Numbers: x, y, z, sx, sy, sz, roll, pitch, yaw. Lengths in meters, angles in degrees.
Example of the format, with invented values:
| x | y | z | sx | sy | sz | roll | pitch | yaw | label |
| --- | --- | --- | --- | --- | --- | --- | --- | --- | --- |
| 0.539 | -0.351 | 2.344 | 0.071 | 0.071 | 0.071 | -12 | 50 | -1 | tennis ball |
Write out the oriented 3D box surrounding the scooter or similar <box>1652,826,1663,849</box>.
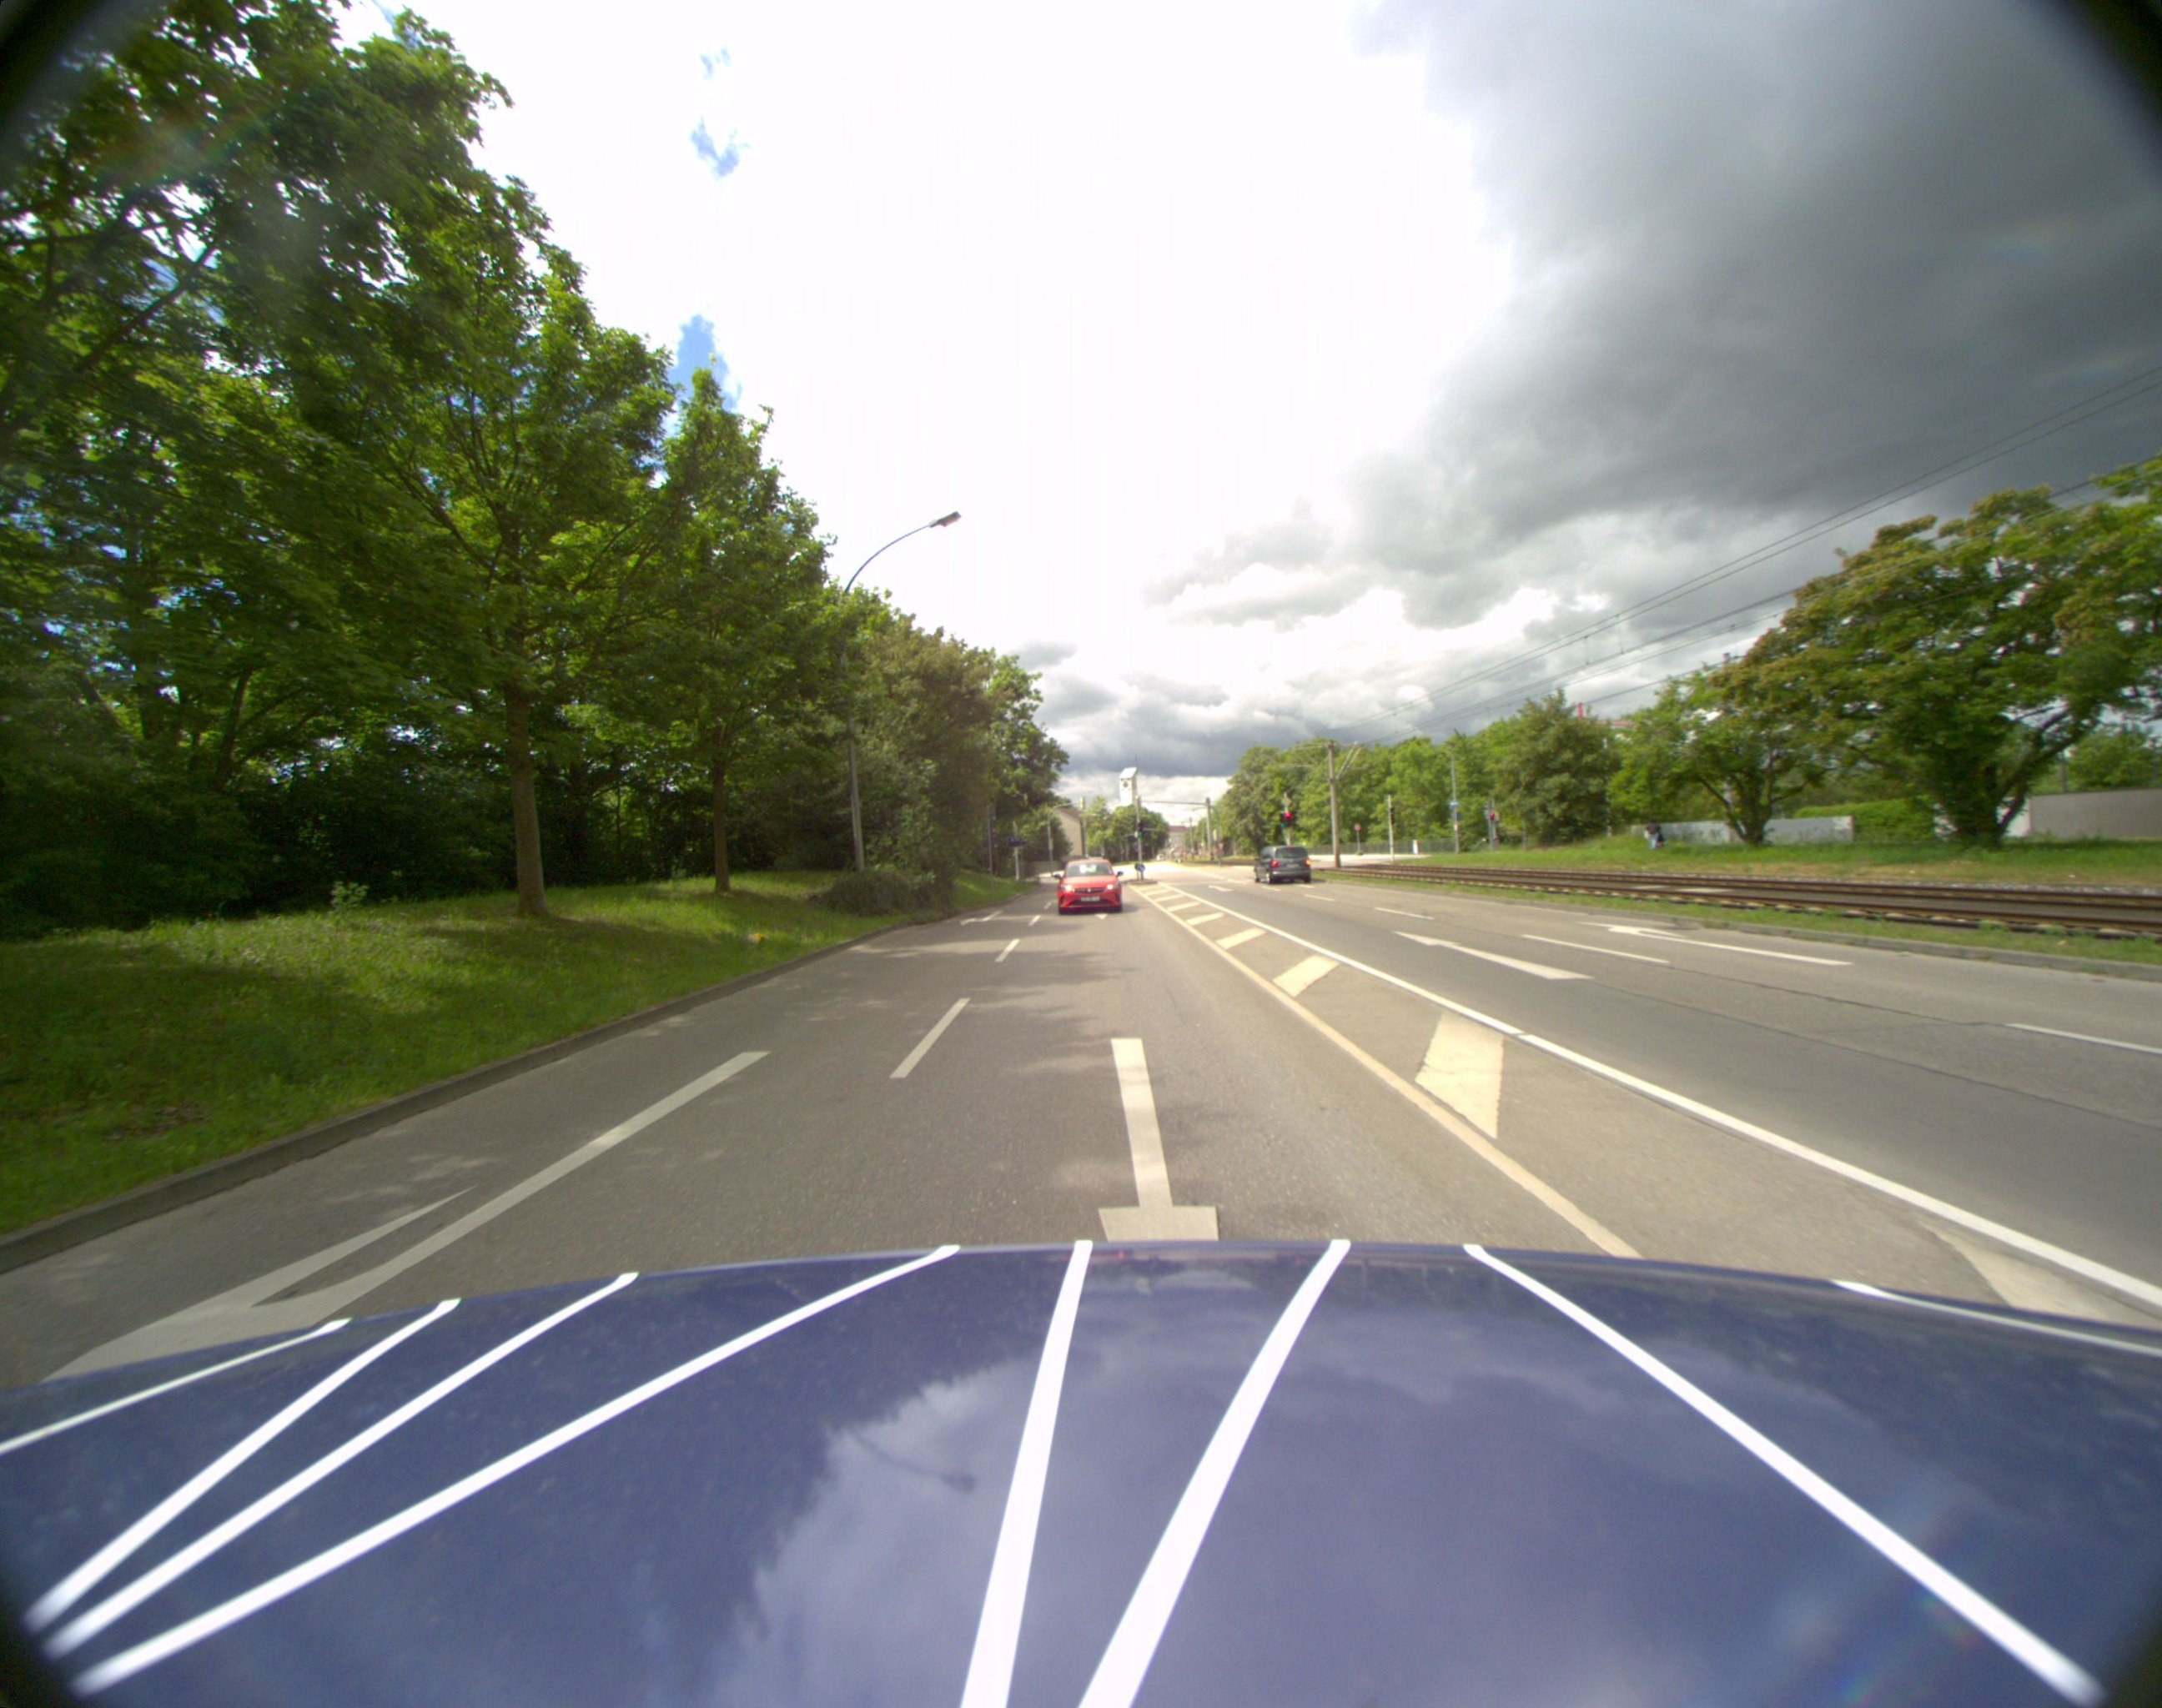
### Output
| x | y | z | sx | sy | sz | roll | pitch | yaw | label |
| --- | --- | --- | --- | --- | --- | --- | --- | --- | --- |
| 28.559 | -0.824 | 37.653 | 0.380 | 1.070 | 0.719 | -3 | 2 | 35 | scooter or similar |

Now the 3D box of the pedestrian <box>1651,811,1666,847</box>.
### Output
| x | y | z | sx | sy | sz | roll | pitch | yaw | label |
| --- | --- | --- | --- | --- | --- | --- | --- | --- | --- |
| 28.107 | -1.212 | 36.988 | 0.491 | 1.713 | 0.801 | -3 | 2 | 33 | pedestrian |

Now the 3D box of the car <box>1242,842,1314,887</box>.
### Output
| x | y | z | sx | sy | sz | roll | pitch | yaw | label |
| --- | --- | --- | --- | --- | --- | --- | --- | --- | --- |
| 8.422 | 0.398 | 32.829 | 1.998 | 1.650 | 4.522 | -4 | 1 | 2 | car |

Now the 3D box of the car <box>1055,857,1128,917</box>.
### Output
| x | y | z | sx | sy | sz | roll | pitch | yaw | label |
| --- | --- | --- | --- | --- | --- | --- | --- | --- | --- |
| 0.284 | 0.873 | 22.027 | 1.790 | 1.453 | 4.853 | -4 | 0 | 0 | car |

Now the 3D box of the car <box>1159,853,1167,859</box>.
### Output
| x | y | z | sx | sy | sz | roll | pitch | yaw | label |
| --- | --- | --- | --- | --- | --- | --- | --- | --- | --- |
| 19.266 | 0.479 | 179.015 | 1.789 | 1.340 | 4.853 | -4 | 1 | 4 | car |
